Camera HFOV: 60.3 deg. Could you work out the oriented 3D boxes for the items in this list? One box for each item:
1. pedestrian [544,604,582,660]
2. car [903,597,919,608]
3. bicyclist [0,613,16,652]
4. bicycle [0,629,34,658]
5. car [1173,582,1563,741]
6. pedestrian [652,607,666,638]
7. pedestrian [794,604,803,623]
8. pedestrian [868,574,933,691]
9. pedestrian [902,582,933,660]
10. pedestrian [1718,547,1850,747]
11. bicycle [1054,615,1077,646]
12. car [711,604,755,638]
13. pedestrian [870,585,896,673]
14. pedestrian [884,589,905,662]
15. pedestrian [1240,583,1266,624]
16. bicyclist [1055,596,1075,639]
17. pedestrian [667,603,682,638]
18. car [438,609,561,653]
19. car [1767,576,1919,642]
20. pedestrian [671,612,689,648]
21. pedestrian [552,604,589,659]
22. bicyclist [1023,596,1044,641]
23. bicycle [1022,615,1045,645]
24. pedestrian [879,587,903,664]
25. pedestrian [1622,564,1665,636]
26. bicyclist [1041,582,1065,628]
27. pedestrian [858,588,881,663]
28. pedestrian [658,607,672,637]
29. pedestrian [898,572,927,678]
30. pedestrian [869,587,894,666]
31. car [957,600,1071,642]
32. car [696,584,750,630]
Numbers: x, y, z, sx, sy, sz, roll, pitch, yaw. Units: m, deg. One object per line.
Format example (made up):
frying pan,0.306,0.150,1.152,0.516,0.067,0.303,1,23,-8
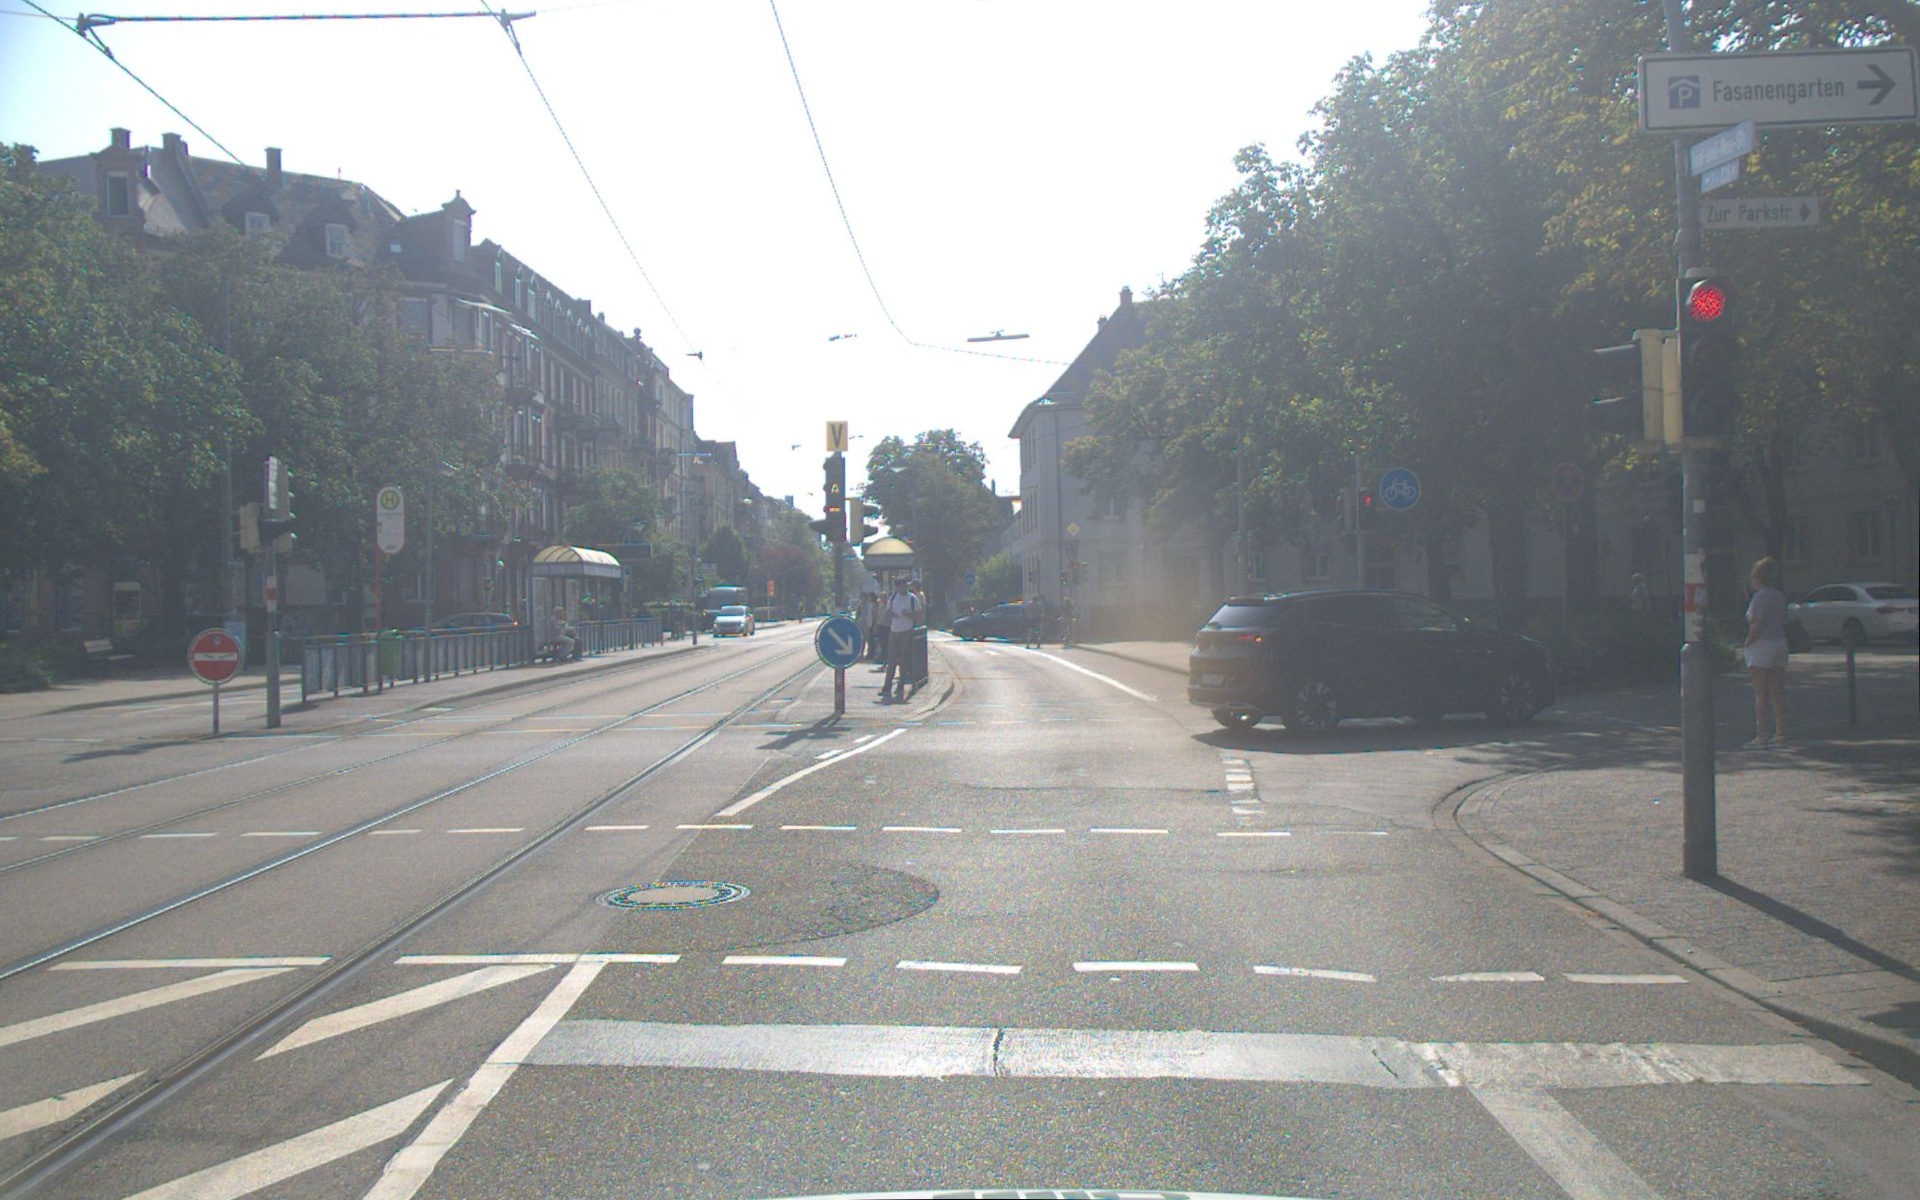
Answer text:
pedestrian,-10.071,0.806,41.981,0.812,1.382,0.775,-1,0,-6
car,-7.570,0.396,257.324,1.951,1.814,4.002,0,0,5
bicyclist,-34.003,1.168,58.577,0.802,1.351,0.548,-2,0,-1
bicycle,-33.868,1.549,58.572,1.813,0.975,0.548,-2,0,-2
car,4.637,0.627,18.761,4.157,1.541,1.601,-2,1,-23
pedestrian,-17.065,1.263,93.764,0.736,1.761,0.769,-1,0,-10
pedestrian,-15.160,1.239,155.313,0.736,1.761,0.769,-1,0,-10
pedestrian,-0.915,0.484,25.570,0.687,1.755,0.746,2,2,31
pedestrian,-0.989,0.482,38.735,0.694,1.790,0.534,1,2,-2
pedestrian,7.537,0.420,15.156,0.736,1.761,0.769,-1,0,-10
bicycle,3.609,1.036,56.681,0.547,0.995,1.855,-2,0,-3
car,-11.809,1.097,86.264,1.765,1.682,3.642,-1,0,-1
pedestrian,-1.600,0.593,34.523,0.494,1.790,0.534,1,2,-1
pedestrian,-1.637,0.623,41.338,0.494,1.790,0.534,1,2,-1
pedestrian,12.705,0.158,71.770,0.875,1.771,0.774,-2,0,31
bicyclist,3.591,0.592,56.696,0.547,1.441,0.871,-1,0,-3
pedestrian,-14.643,1.058,84.844,0.736,1.761,0.769,-1,0,-10
car,-18.158,1.207,65.221,4.285,1.596,1.976,-1,0,-35
car,21.264,0.202,39.208,1.721,1.453,4.135,-2,0,-10
pedestrian,-13.988,1.507,82.707,0.734,1.761,0.771,-1,0,1
pedestrian,-10.118,0.810,42.957,0.812,1.382,0.775,-1,0,-6
bicyclist,2.542,0.640,57.198,0.616,1.534,0.678,-1,0,-3
bicycle,2.545,1.019,57.198,0.616,0.995,1.769,-2,0,-3
pedestrian,-1.642,0.612,39.339,0.532,1.790,0.534,1,2,-1
pedestrian,17.076,-0.007,41.333,0.872,1.771,0.776,-1,0,18
bicyclist,3.940,0.213,69.969,0.965,1.890,0.493,-1,0,7
pedestrian,-2.224,0.620,40.745,0.521,1.790,0.545,1,2,0
pedestrian,-17.239,1.285,96.718,0.736,1.761,0.769,-1,0,-10
pedestrian,-0.852,0.445,29.838,0.494,1.866,0.534,1,2,-1
pedestrian,-1.830,0.616,38.526,0.532,1.790,0.534,1,2,-1
car,2.210,0.839,67.244,4.230,1.596,2.001,-1,0,16
car,-14.461,0.428,101.298,2.298,2.708,5.106,-1,0,2
